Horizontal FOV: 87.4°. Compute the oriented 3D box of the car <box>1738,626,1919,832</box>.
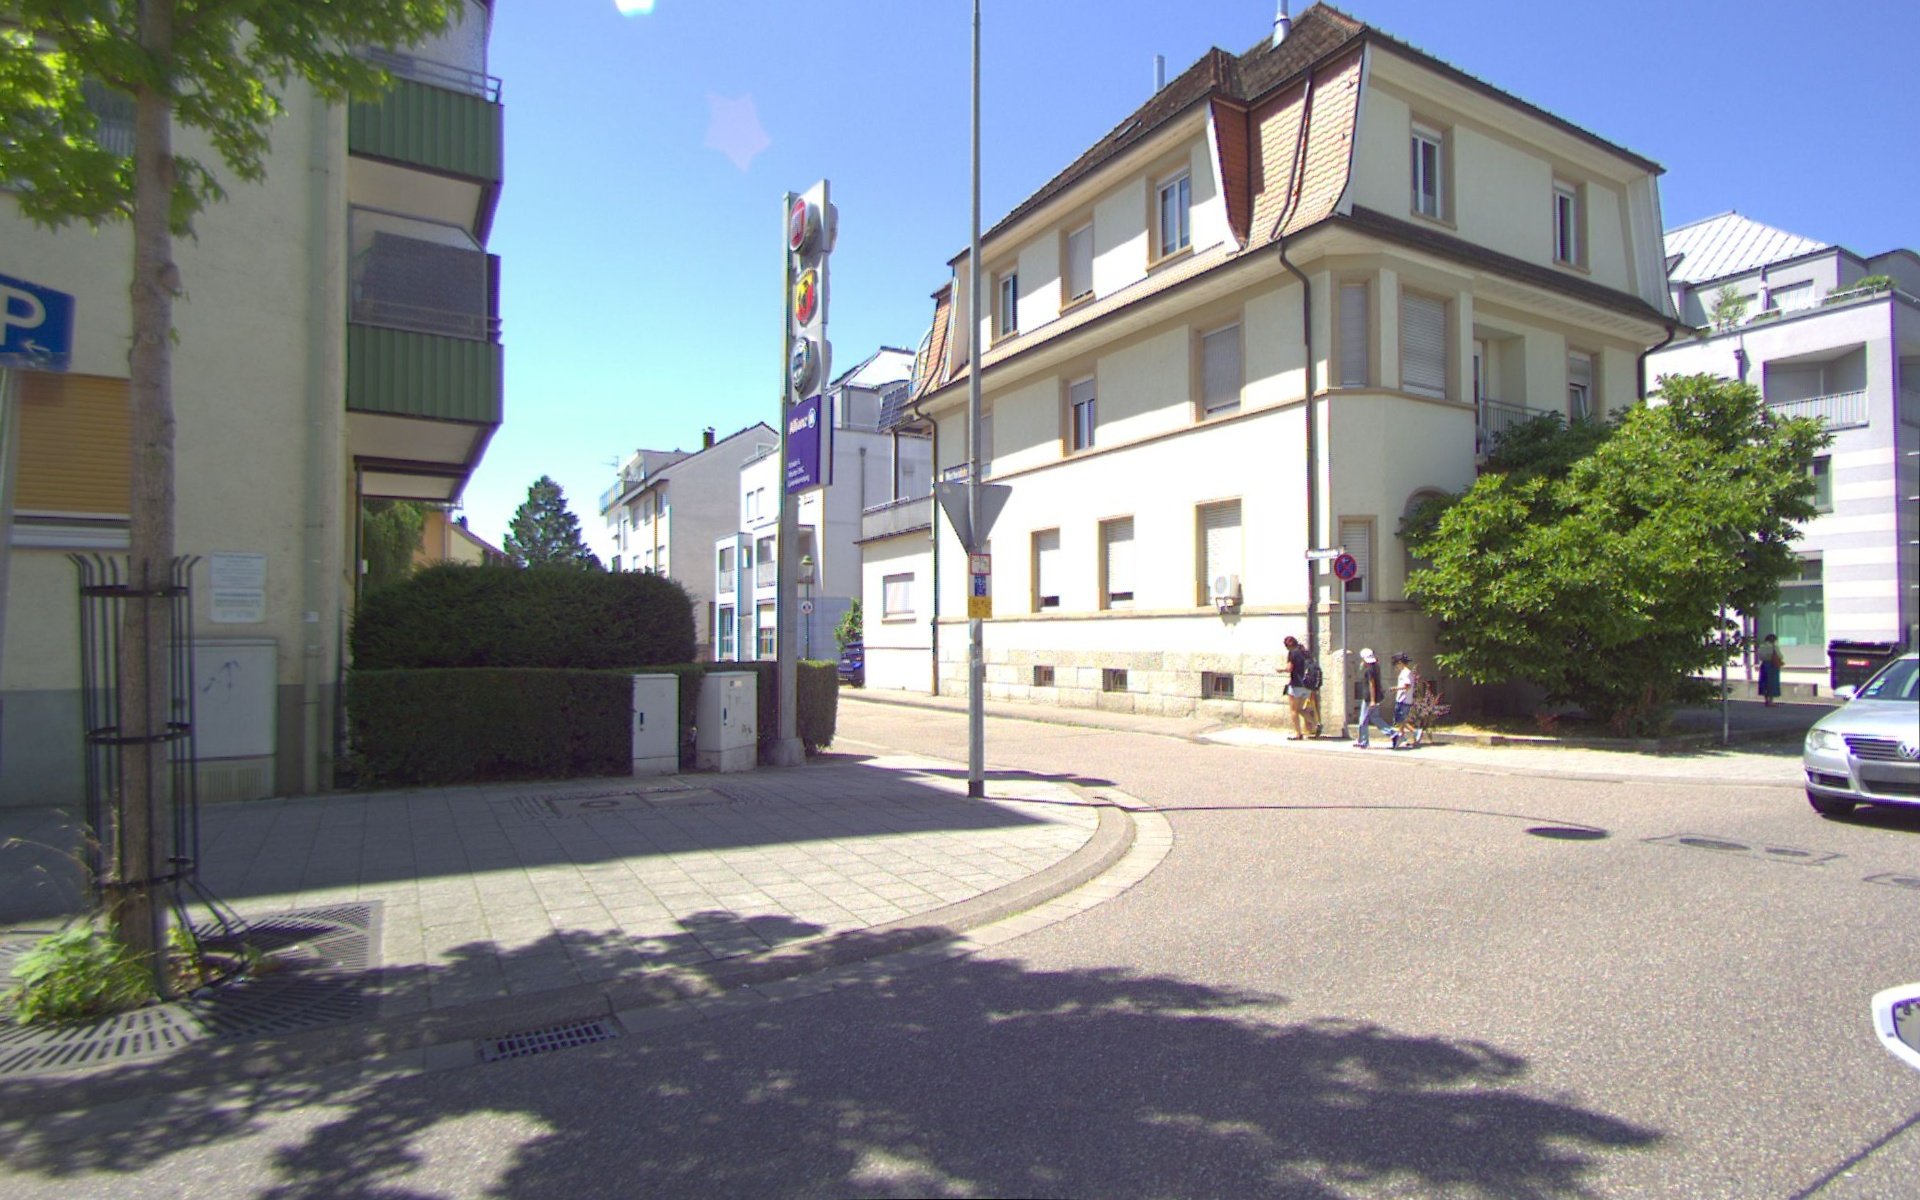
[{"bbox_3d":[9.122,1.070,8.865,4.741,1.528,1.940,3,-5,-31],"label":"car"}]

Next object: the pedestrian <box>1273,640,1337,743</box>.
[{"bbox_3d":[5.429,1.419,15.796,0.687,1.550,0.592,-1,-2,-35],"label":"pedestrian"}]

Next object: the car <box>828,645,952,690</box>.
[{"bbox_3d":[-2.400,2.290,34.613,3.921,1.455,1.762,2,-2,-32],"label":"car"}]

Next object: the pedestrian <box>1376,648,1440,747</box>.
[{"bbox_3d":[6.606,1.421,14.822,0.590,1.389,0.690,-4,-3,45],"label":"pedestrian"}]

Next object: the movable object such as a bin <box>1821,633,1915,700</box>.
[{"bbox_3d":[21.897,1.601,24.243,1.283,1.514,1.348,-1,-3,-34],"label":"movable object such as a bin"}]

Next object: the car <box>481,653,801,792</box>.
[{"bbox_3d":[-4.472,1.598,14.155,3.953,1.520,1.985,-1,-2,-31],"label":"car"}]

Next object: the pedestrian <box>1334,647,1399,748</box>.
[{"bbox_3d":[5.885,1.399,14.530,0.590,1.389,0.690,-4,-3,44],"label":"pedestrian"}]

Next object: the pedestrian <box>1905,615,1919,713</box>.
[{"bbox_3d":[17.727,1.170,18.041,0.808,1.772,0.881,3,-2,-30],"label":"pedestrian"}]

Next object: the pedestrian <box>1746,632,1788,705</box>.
[{"bbox_3d":[18.748,1.577,23.334,0.671,1.644,0.711,1,-2,44],"label":"pedestrian"}]

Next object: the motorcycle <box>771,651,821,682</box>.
[{"bbox_3d":[-6.459,2.599,39.581,1.797,1.209,0.694,1,-3,-29],"label":"motorcycle"}]

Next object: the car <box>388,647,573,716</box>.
[{"bbox_3d":[-12.678,2.097,26.606,4.245,1.520,1.985,-1,-3,-31],"label":"car"}]

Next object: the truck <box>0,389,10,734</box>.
[{"bbox_3d":[-4.272,0.402,0.864,4.659,2.145,1.796,1,-3,-31],"label":"truck"}]
